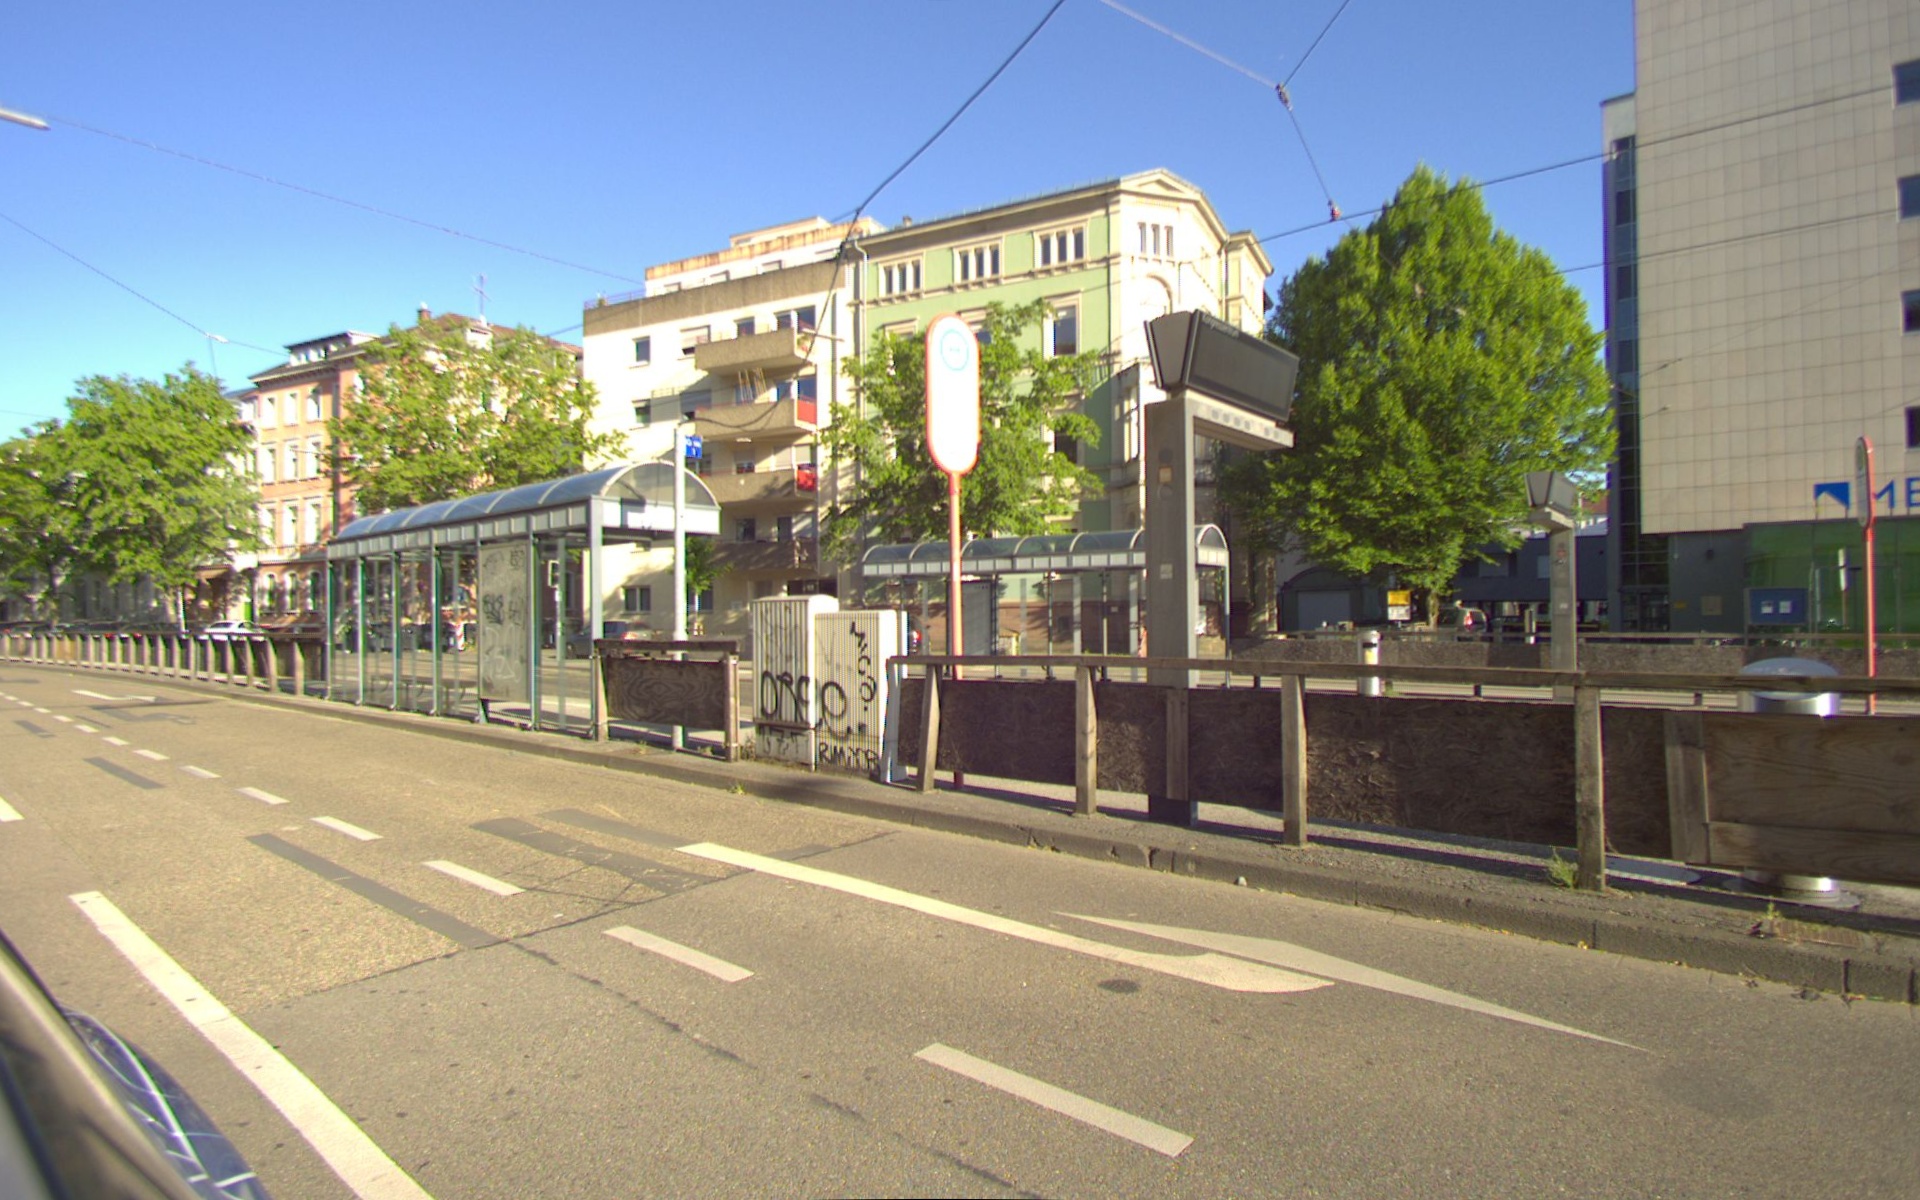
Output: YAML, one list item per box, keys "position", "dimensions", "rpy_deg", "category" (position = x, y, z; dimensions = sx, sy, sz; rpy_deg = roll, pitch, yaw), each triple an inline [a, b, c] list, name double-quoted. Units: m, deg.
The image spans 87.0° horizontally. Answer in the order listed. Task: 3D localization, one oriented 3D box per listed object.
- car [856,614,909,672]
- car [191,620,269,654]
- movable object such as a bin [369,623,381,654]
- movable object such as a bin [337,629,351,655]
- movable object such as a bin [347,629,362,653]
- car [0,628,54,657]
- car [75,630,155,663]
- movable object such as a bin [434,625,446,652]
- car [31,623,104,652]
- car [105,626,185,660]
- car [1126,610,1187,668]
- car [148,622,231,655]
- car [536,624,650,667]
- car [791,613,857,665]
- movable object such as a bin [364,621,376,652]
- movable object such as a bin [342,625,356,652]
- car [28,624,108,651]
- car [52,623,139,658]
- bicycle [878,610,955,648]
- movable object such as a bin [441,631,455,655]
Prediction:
- position: [-2.482, 1.301, 32.229]
  dimensions: [1.566, 1.654, 4.520]
  rpy_deg: [0, 0, -5]
  category: "car"
- position: [-38.580, 1.919, 53.609]
  dimensions: [1.708, 1.533, 3.924]
  rpy_deg: [-2, 1, -9]
  category: "car"
- position: [-27.197, 1.773, 47.079]
  dimensions: [0.387, 1.437, 0.375]
  rpy_deg: [-2, -2, 40]
  category: "movable object such as a bin"
- position: [-29.007, 1.953, 47.630]
  dimensions: [0.639, 1.212, 0.375]
  rpy_deg: [-2, -2, 40]
  category: "movable object such as a bin"
- position: [-27.966, 1.892, 46.734]
  dimensions: [0.639, 1.076, 0.375]
  rpy_deg: [-2, -2, 40]
  category: "movable object such as a bin"
- position: [-61.429, 2.741, 65.707]
  dimensions: [1.748, 1.667, 3.872]
  rpy_deg: [-1, 0, -1]
  category: "car"
- position: [-48.314, 2.641, 57.954]
  dimensions: [1.609, 1.629, 3.993]
  rpy_deg: [-2, 1, -7]
  category: "car"
- position: [-25.395, 1.886, 49.439]
  dimensions: [0.387, 1.322, 0.376]
  rpy_deg: [-1, -2, 34]
  category: "movable object such as a bin"
- position: [-54.309, 2.258, 61.651]
  dimensions: [1.682, 1.544, 3.284]
  rpy_deg: [-2, 2, -3]
  category: "car"
- position: [-45.721, 2.389, 56.875]
  dimensions: [1.609, 1.629, 3.993]
  rpy_deg: [-2, 1, -7]
  category: "car"
- position: [5.877, 1.110, 30.584]
  dimensions: [1.572, 1.581, 4.504]
  rpy_deg: [0, 0, 8]
  category: "car"
- position: [-41.503, 2.064, 54.629]
  dimensions: [1.664, 1.519, 3.925]
  rpy_deg: [-2, 1, -3]
  category: "car"
- position: [-13.572, 1.643, 37.373]
  dimensions: [4.278, 1.421, 1.693]
  rpy_deg: [-1, 1, 32]
  category: "car"
- position: [-4.240, 1.183, 32.073]
  dimensions: [1.845, 1.436, 4.520]
  rpy_deg: [0, 0, -5]
  category: "car"
- position: [-27.678, 1.728, 47.464]
  dimensions: [0.385, 1.437, 0.375]
  rpy_deg: [-2, -2, 40]
  category: "movable object such as a bin"
- position: [-28.498, 1.812, 47.183]
  dimensions: [0.639, 1.251, 0.375]
  rpy_deg: [-2, -2, 40]
  category: "movable object such as a bin"
- position: [-56.336, 2.355, 64.027]
  dimensions: [1.745, 1.496, 3.823]
  rpy_deg: [-1, 1, -1]
  category: "car"
- position: [-51.198, 2.359, 60.065]
  dimensions: [1.682, 1.735, 4.290]
  rpy_deg: [-1, 2, -4]
  category: "car"
- position: [-1.670, 1.118, 38.453]
  dimensions: [2.995, 1.409, 0.713]
  rpy_deg: [-1, -2, 27]
  category: "bicycle"
- position: [-24.101, 2.039, 47.630]
  dimensions: [0.551, 1.105, 0.376]
  rpy_deg: [0, -1, 34]
  category: "movable object such as a bin"
